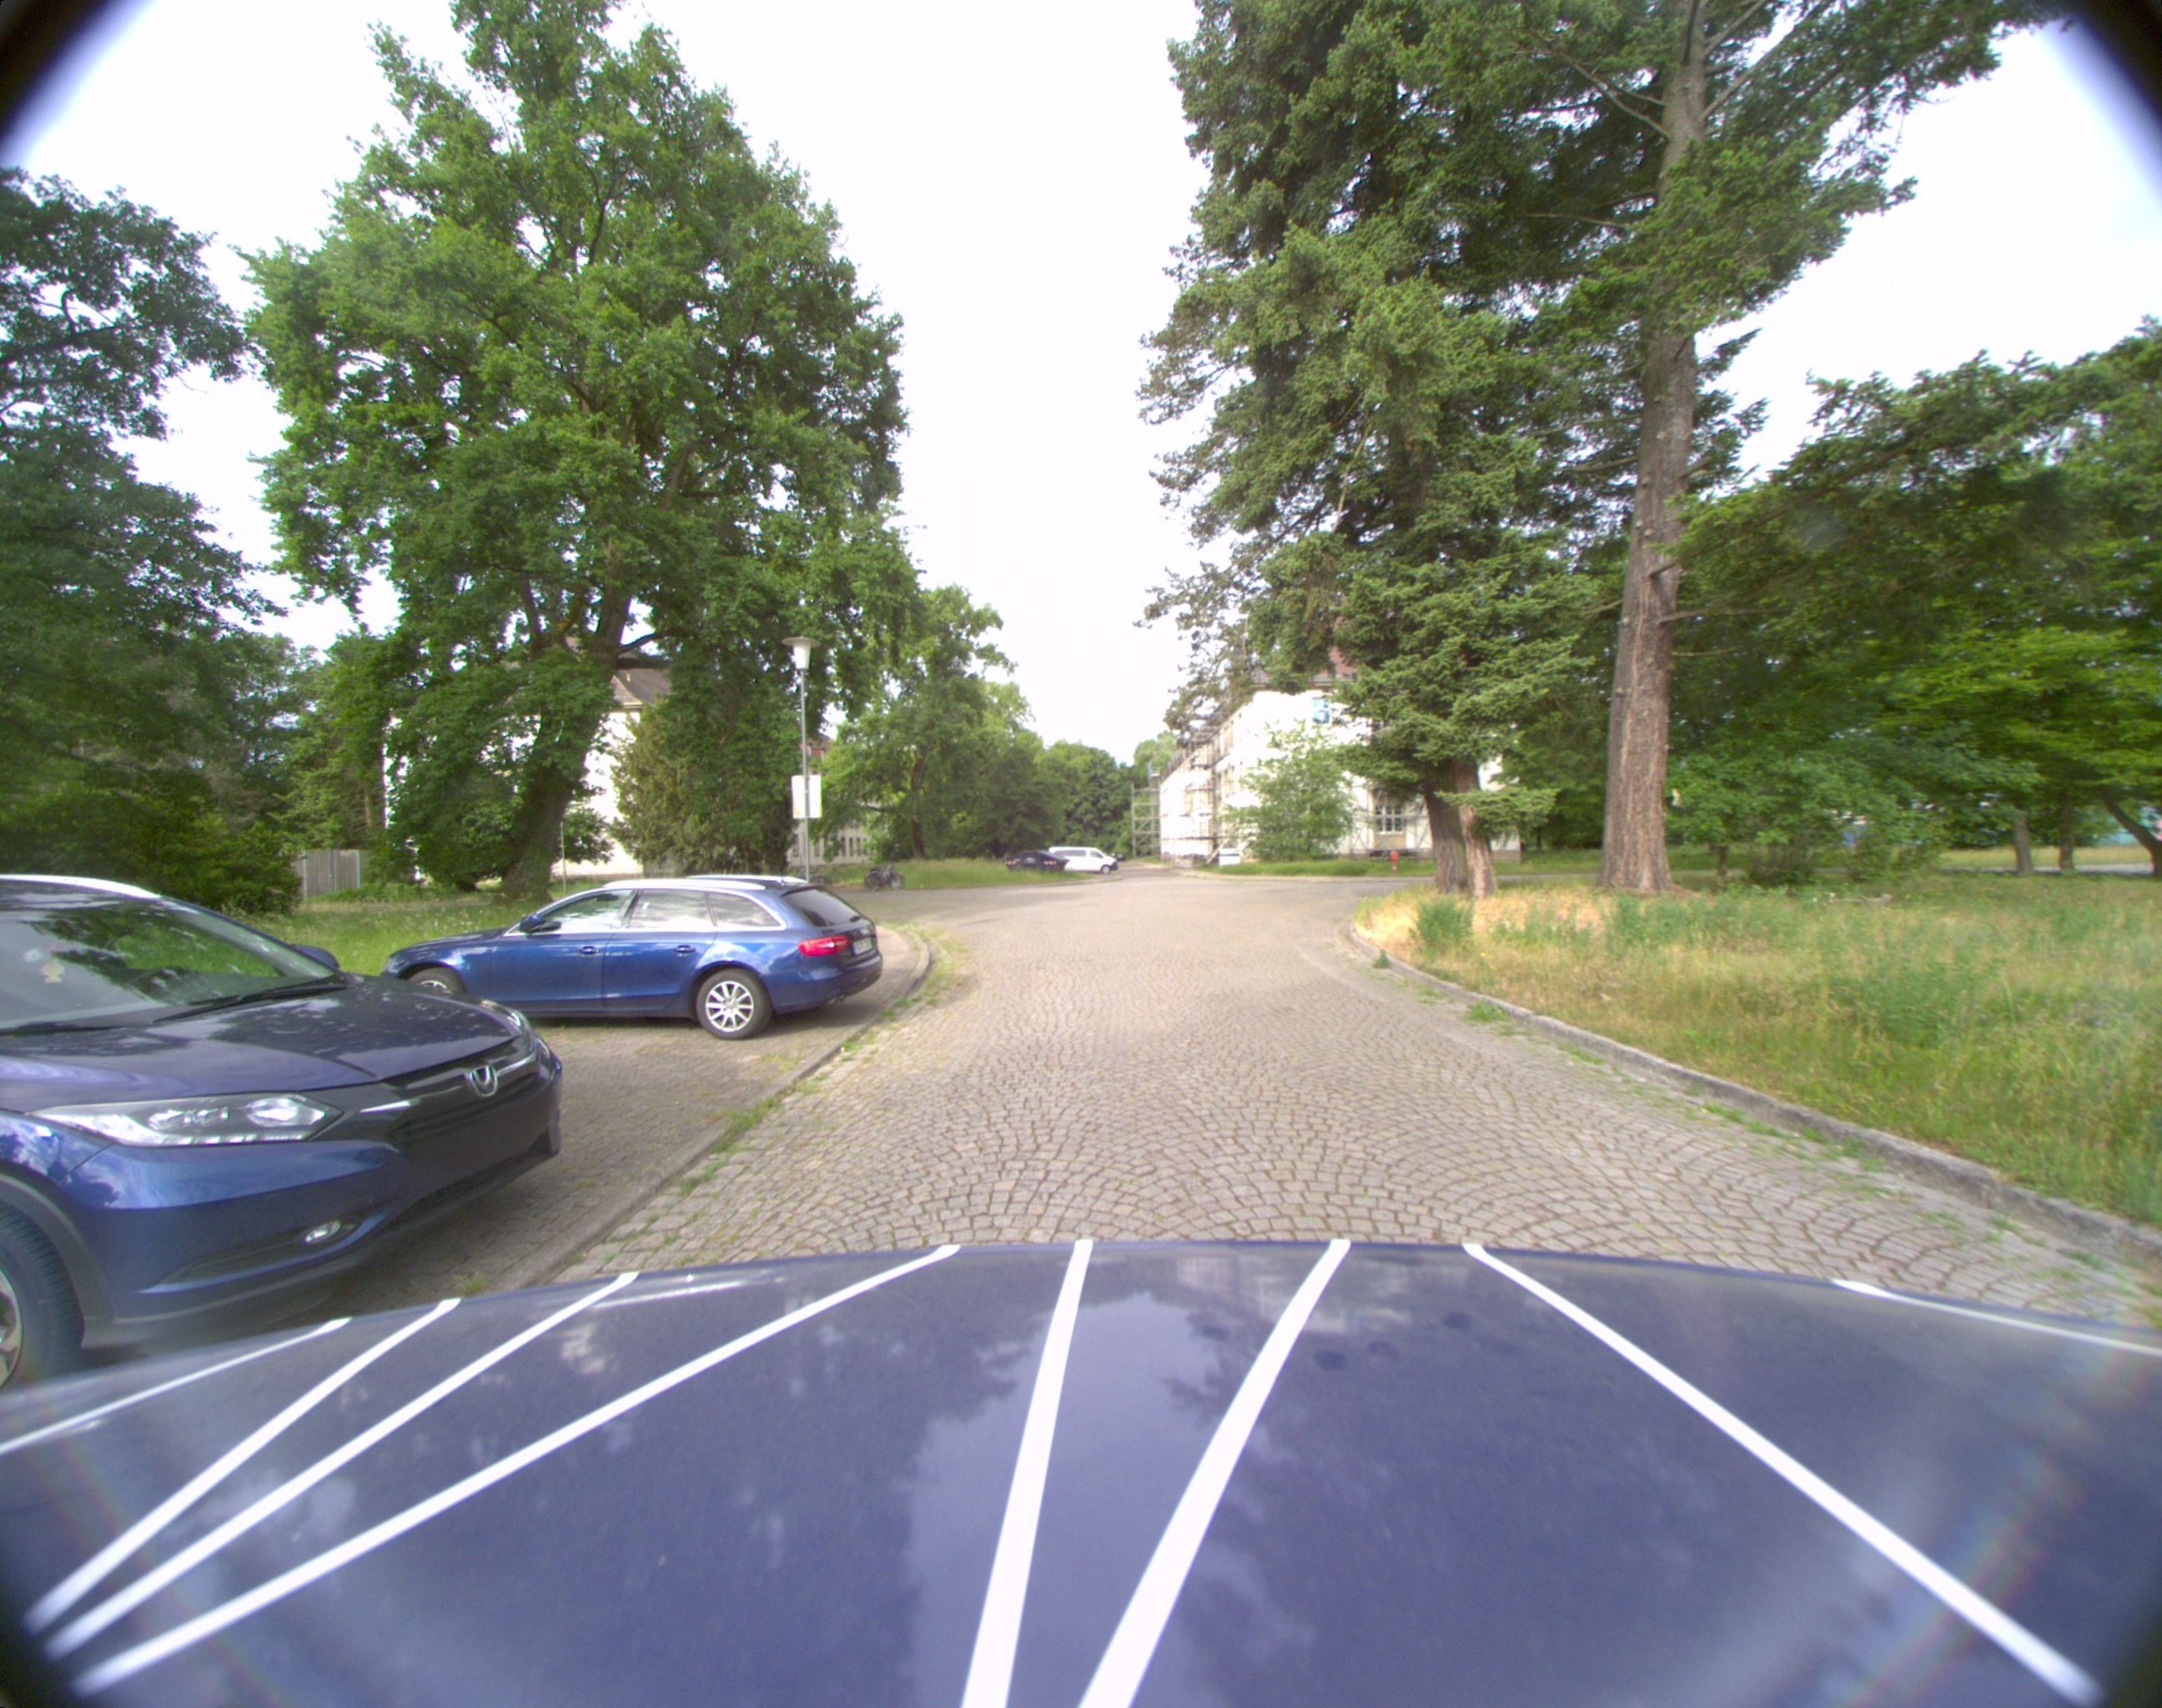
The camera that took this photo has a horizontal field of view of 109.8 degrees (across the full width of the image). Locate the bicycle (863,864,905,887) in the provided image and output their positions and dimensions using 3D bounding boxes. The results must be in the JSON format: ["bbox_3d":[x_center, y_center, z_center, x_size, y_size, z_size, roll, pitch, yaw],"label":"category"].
[{"bbox_3d":[-10.322,1.120,39.838,2.032,1.070,0.620,-3,1,-23],"label":"bicycle"}]

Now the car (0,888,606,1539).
[{"bbox_3d":[-4.469,1.022,2.858,4.172,1.563,1.793,-1,2,1],"label":"car"}]

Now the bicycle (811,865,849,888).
[{"bbox_3d":[-13.486,1.200,40.886,1.859,1.116,0.620,-3,1,-23],"label":"bicycle"}]

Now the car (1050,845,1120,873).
[{"bbox_3d":[0.295,0.338,56.373,5.101,2.007,2.054,-1,1,-1],"label":"car"}]

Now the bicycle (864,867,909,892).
[{"bbox_3d":[-9.252,1.199,36.147,1.976,1.070,0.587,-3,1,-27],"label":"bicycle"}]

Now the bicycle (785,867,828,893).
[{"bbox_3d":[-13.161,1.247,36.396,1.859,1.116,0.620,-3,1,-23],"label":"bicycle"}]

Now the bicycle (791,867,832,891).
[{"bbox_3d":[-13.705,1.245,38.668,1.859,1.116,0.620,-3,1,-23],"label":"bicycle"}]

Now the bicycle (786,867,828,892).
[{"bbox_3d":[-13.358,1.248,37.007,1.859,1.116,0.620,-3,1,-23],"label":"bicycle"}]

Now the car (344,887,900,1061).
[{"bbox_3d":[-4.283,1.087,7.557,4.480,1.413,1.785,0,1,3],"label":"car"}]

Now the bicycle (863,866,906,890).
[{"bbox_3d":[-9.758,1.169,37.730,1.976,1.070,0.587,-3,1,-27],"label":"bicycle"}]
